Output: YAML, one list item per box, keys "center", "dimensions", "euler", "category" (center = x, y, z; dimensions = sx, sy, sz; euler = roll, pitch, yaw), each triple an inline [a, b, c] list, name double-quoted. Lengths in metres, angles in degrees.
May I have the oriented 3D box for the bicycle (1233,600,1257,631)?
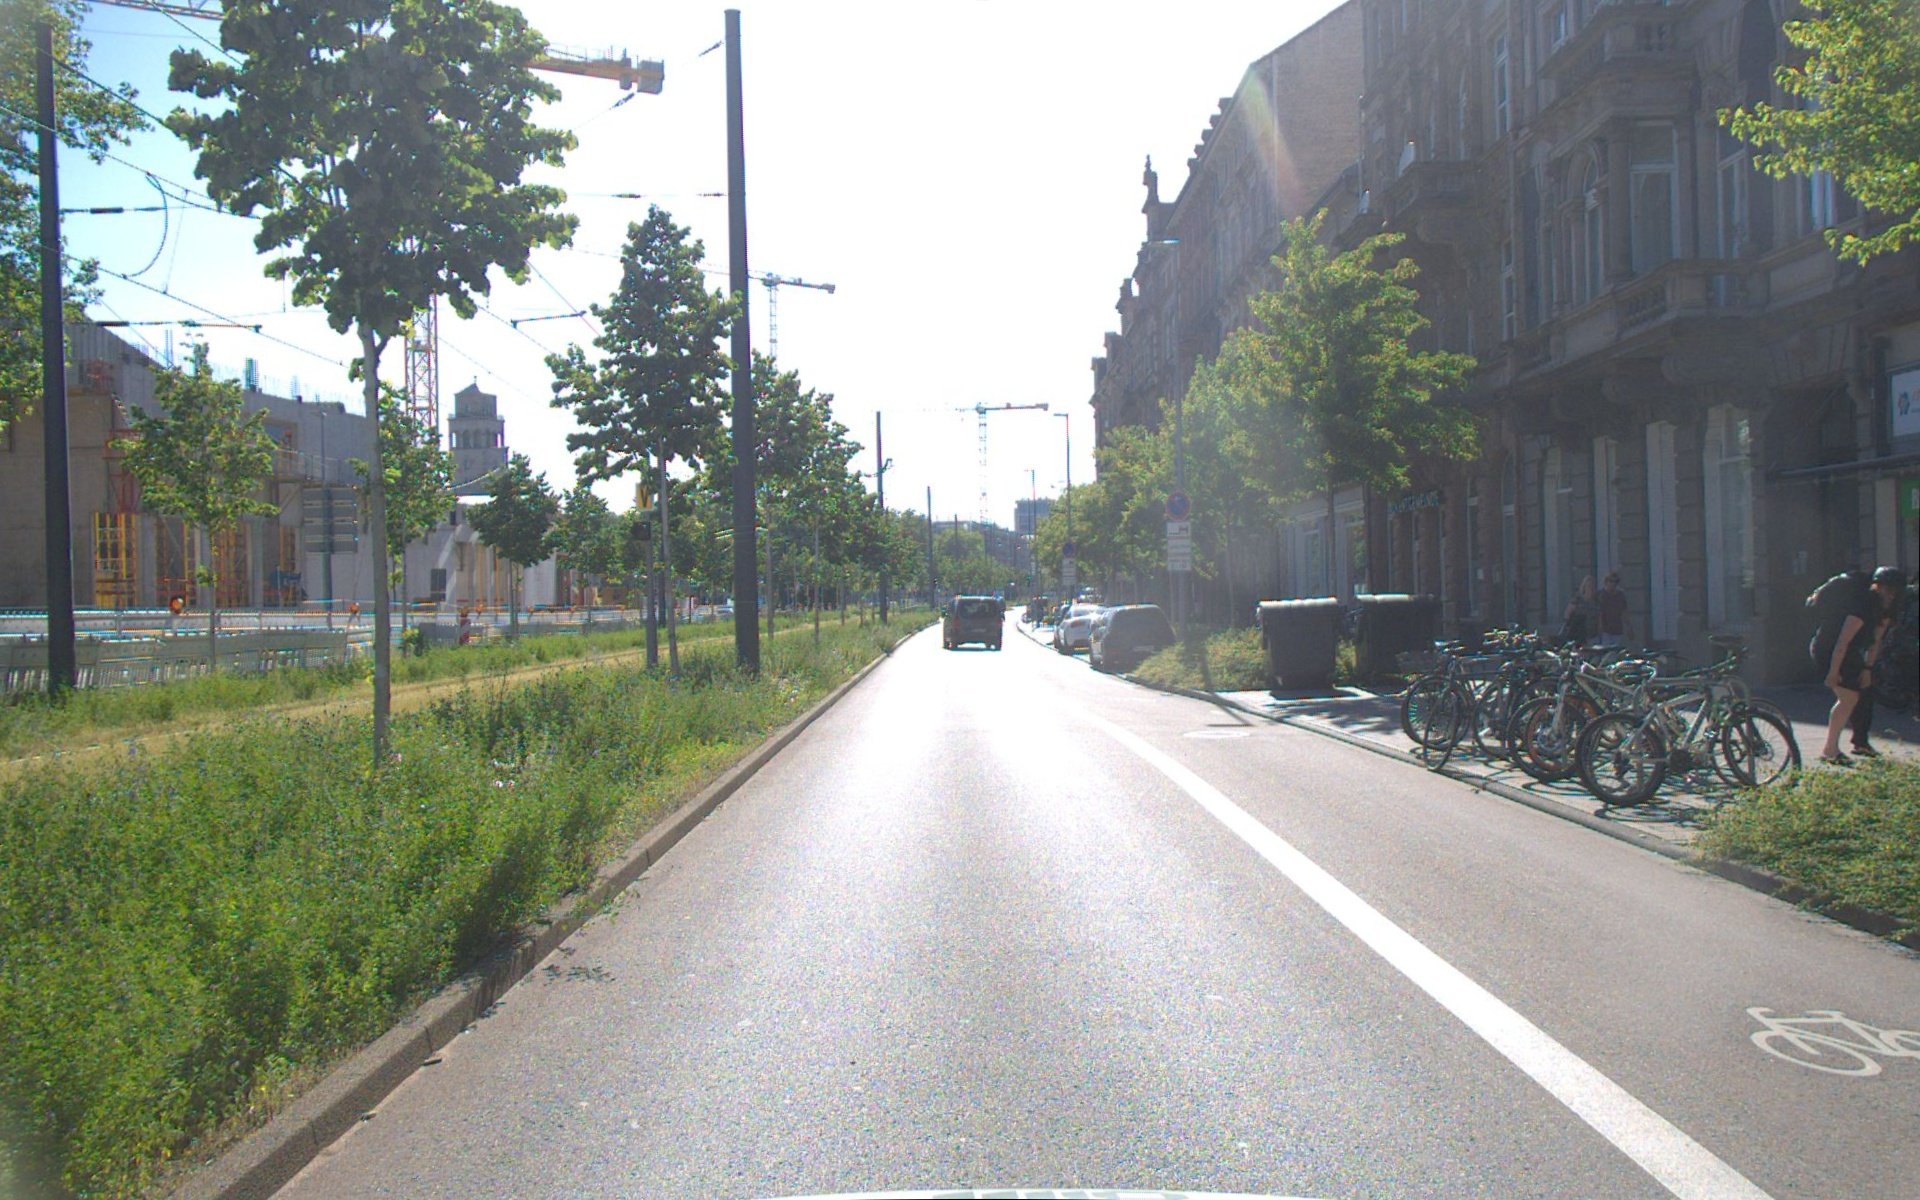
- center: [10.497, 0.569, 60.902]
  dimensions: [0.471, 1.109, 2.057]
  euler: [-2, 0, 0]
  category: "bicycle"

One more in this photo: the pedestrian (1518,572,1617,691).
- center: [8.479, 0.424, 23.131]
  dimensions: [0.931, 1.594, 1.080]
  euler: [-2, 1, -1]
  category: "pedestrian"

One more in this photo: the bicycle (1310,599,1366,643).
- center: [10.360, 0.565, 45.390]
  dimensions: [0.858, 1.124, 2.180]
  euler: [-4, 0, -3]
  category: "bicycle"

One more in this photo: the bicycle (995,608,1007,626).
- center: [2.680, 1.106, 107.315]
  dimensions: [0.687, 1.110, 2.277]
  euler: [-1, 0, 0]
  category: "bicycle"

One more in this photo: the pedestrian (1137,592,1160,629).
- center: [9.112, 0.497, 79.891]
  dimensions: [0.975, 1.762, 0.866]
  euler: [0, -1, -1]
  category: "pedestrian"

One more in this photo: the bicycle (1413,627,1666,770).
- center: [5.274, 0.875, 15.046]
  dimensions: [2.247, 1.121, 0.484]
  euler: [-3, 0, -15]
  category: "bicycle"

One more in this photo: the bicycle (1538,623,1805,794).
- center: [5.330, 0.802, 12.419]
  dimensions: [1.829, 1.199, 0.373]
  euler: [-2, -1, -3]
  category: "bicycle"

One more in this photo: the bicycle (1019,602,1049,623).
- center: [4.933, 0.843, 110.077]
  dimensions: [1.843, 1.255, 0.499]
  euler: [-4, -1, -6]
  category: "bicycle"

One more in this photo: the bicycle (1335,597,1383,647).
- center: [10.201, 0.561, 42.323]
  dimensions: [0.732, 1.222, 1.800]
  euler: [-2, -1, -1]
  category: "bicycle"

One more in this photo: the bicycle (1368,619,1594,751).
- center: [5.176, 0.831, 16.473]
  dimensions: [2.005, 1.126, 0.610]
  euler: [-4, -1, -7]
  category: "bicycle"

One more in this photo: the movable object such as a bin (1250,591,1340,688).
- center: [5.472, 0.630, 27.131]
  dimensions: [1.244, 1.489, 1.645]
  euler: [0, 2, 4]
  category: "movable object such as a bin"

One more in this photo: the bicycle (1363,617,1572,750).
- center: [5.168, 0.839, 16.881]
  dimensions: [1.937, 1.143, 0.481]
  euler: [-5, 1, -6]
  category: "bicycle"

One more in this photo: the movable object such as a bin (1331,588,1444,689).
- center: [7.035, 0.622, 27.322]
  dimensions: [1.345, 1.521, 1.749]
  euler: [-4, -1, 1]
  category: "movable object such as a bin"

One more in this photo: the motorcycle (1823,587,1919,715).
- center: [10.024, 0.513, 16.870]
  dimensions: [0.848, 1.288, 2.981]
  euler: [0, -1, -1]
  category: "motorcycle"

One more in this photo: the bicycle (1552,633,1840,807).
- center: [5.354, 0.857, 12.065]
  dimensions: [1.855, 1.128, 0.517]
  euler: [-3, -1, -6]
  category: "bicycle"

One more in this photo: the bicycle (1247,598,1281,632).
- center: [10.377, 0.504, 56.525]
  dimensions: [0.706, 1.109, 2.198]
  euler: [-2, 0, 0]
  category: "bicycle"

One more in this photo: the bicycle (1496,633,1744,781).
- center: [5.387, 0.860, 13.538]
  dimensions: [1.780, 1.074, 0.571]
  euler: [-3, -1, -6]
  category: "bicycle"

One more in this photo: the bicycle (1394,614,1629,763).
- center: [5.132, 0.801, 15.389]
  dimensions: [2.111, 1.174, 0.428]
  euler: [-5, 0, -14]
  category: "bicycle"

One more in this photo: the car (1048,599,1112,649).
- center: [4.266, 0.859, 59.440]
  dimensions: [1.846, 1.597, 4.219]
  euler: [-4, -1, -1]
  category: "car"

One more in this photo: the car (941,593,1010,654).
- center: [0.511, 0.825, 58.273]
  dimensions: [1.955, 2.049, 3.994]
  euler: [0, -1, -7]
  category: "car"

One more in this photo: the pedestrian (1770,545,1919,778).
- center: [7.294, 0.487, 13.402]
  dimensions: [0.838, 1.765, 0.893]
  euler: [-5, 0, -31]
  category: "pedestrian"

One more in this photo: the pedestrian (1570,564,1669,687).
- center: [9.356, 0.348, 23.496]
  dimensions: [0.951, 1.667, 0.992]
  euler: [-2, 1, -1]
  category: "pedestrian"

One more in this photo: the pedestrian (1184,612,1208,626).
- center: [10.455, 0.857, 73.349]
  dimensions: [0.757, 0.562, 2.007]
  euler: [-2, 0, 0]
  category: "pedestrian"

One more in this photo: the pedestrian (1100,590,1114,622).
- center: [9.381, 0.385, 105.661]
  dimensions: [0.801, 2.049, 1.046]
  euler: [-1, 0, 0]
  category: "pedestrian"

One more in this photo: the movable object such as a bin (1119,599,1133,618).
- center: [10.222, 0.529, 101.875]
  dimensions: [0.711, 1.117, 0.747]
  euler: [-1, 0, -5]
  category: "movable object such as a bin"

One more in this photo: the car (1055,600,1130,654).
- center: [4.154, 0.822, 52.704]
  dimensions: [1.912, 1.521, 5.104]
  euler: [-3, 0, 0]
  category: "car"

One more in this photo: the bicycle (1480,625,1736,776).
- center: [5.427, 0.830, 13.882]
  dimensions: [1.938, 1.127, 0.435]
  euler: [-3, -1, -3]
  category: "bicycle"

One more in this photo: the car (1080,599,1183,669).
- center: [4.086, 0.809, 39.996]
  dimensions: [1.731, 1.502, 4.446]
  euler: [-4, -1, -3]
  category: "car"

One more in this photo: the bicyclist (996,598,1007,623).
- center: [2.674, 0.654, 107.494]
  dimensions: [0.669, 1.612, 0.839]
  euler: [-1, 0, -1]
  category: "bicyclist"
